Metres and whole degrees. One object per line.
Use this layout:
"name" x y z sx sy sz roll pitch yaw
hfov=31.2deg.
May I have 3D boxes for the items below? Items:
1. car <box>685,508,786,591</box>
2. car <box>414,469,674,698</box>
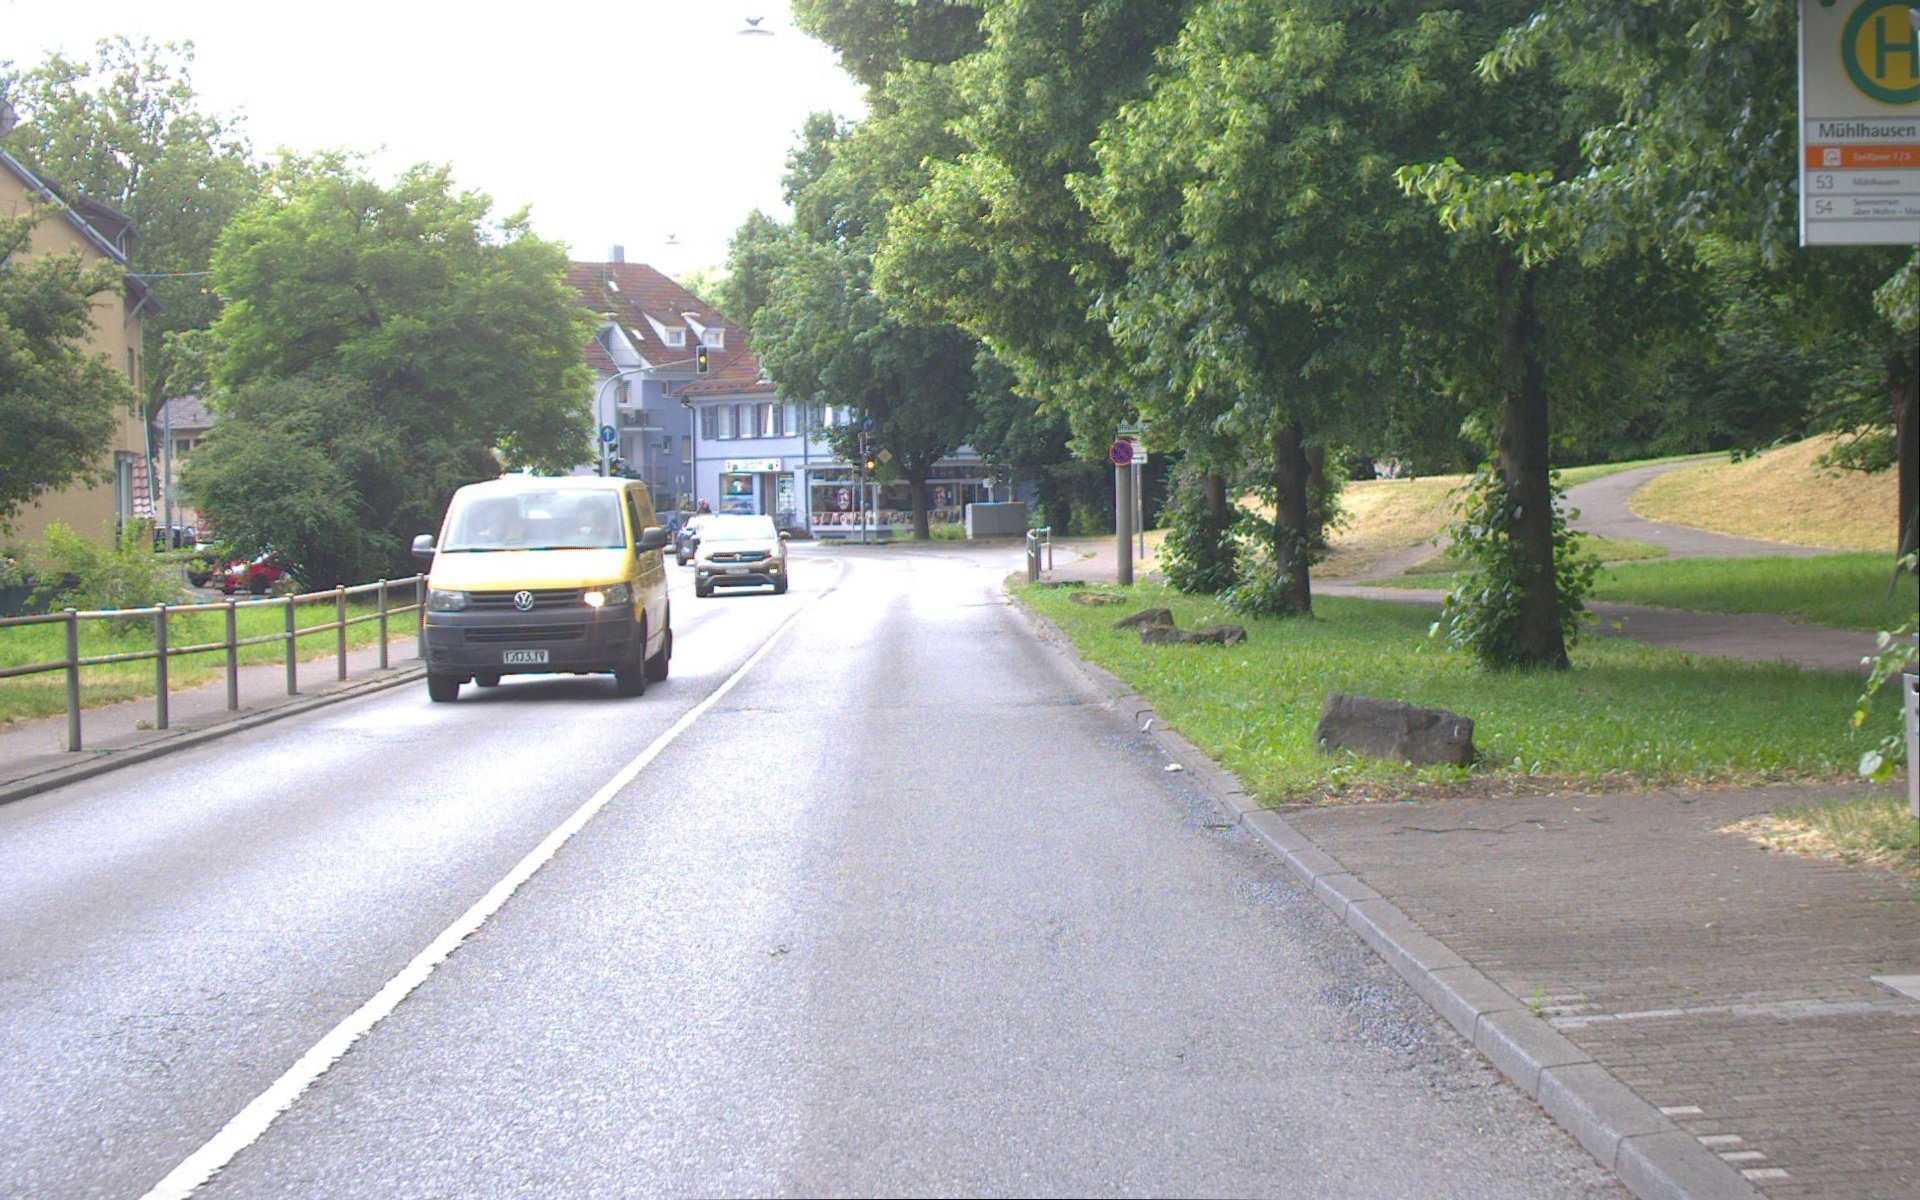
"car" -4.415 -1.020 68.088 1.704 1.506 4.000 -2 1 0
"car" -3.716 -0.186 31.462 1.845 1.924 4.769 0 1 -1
